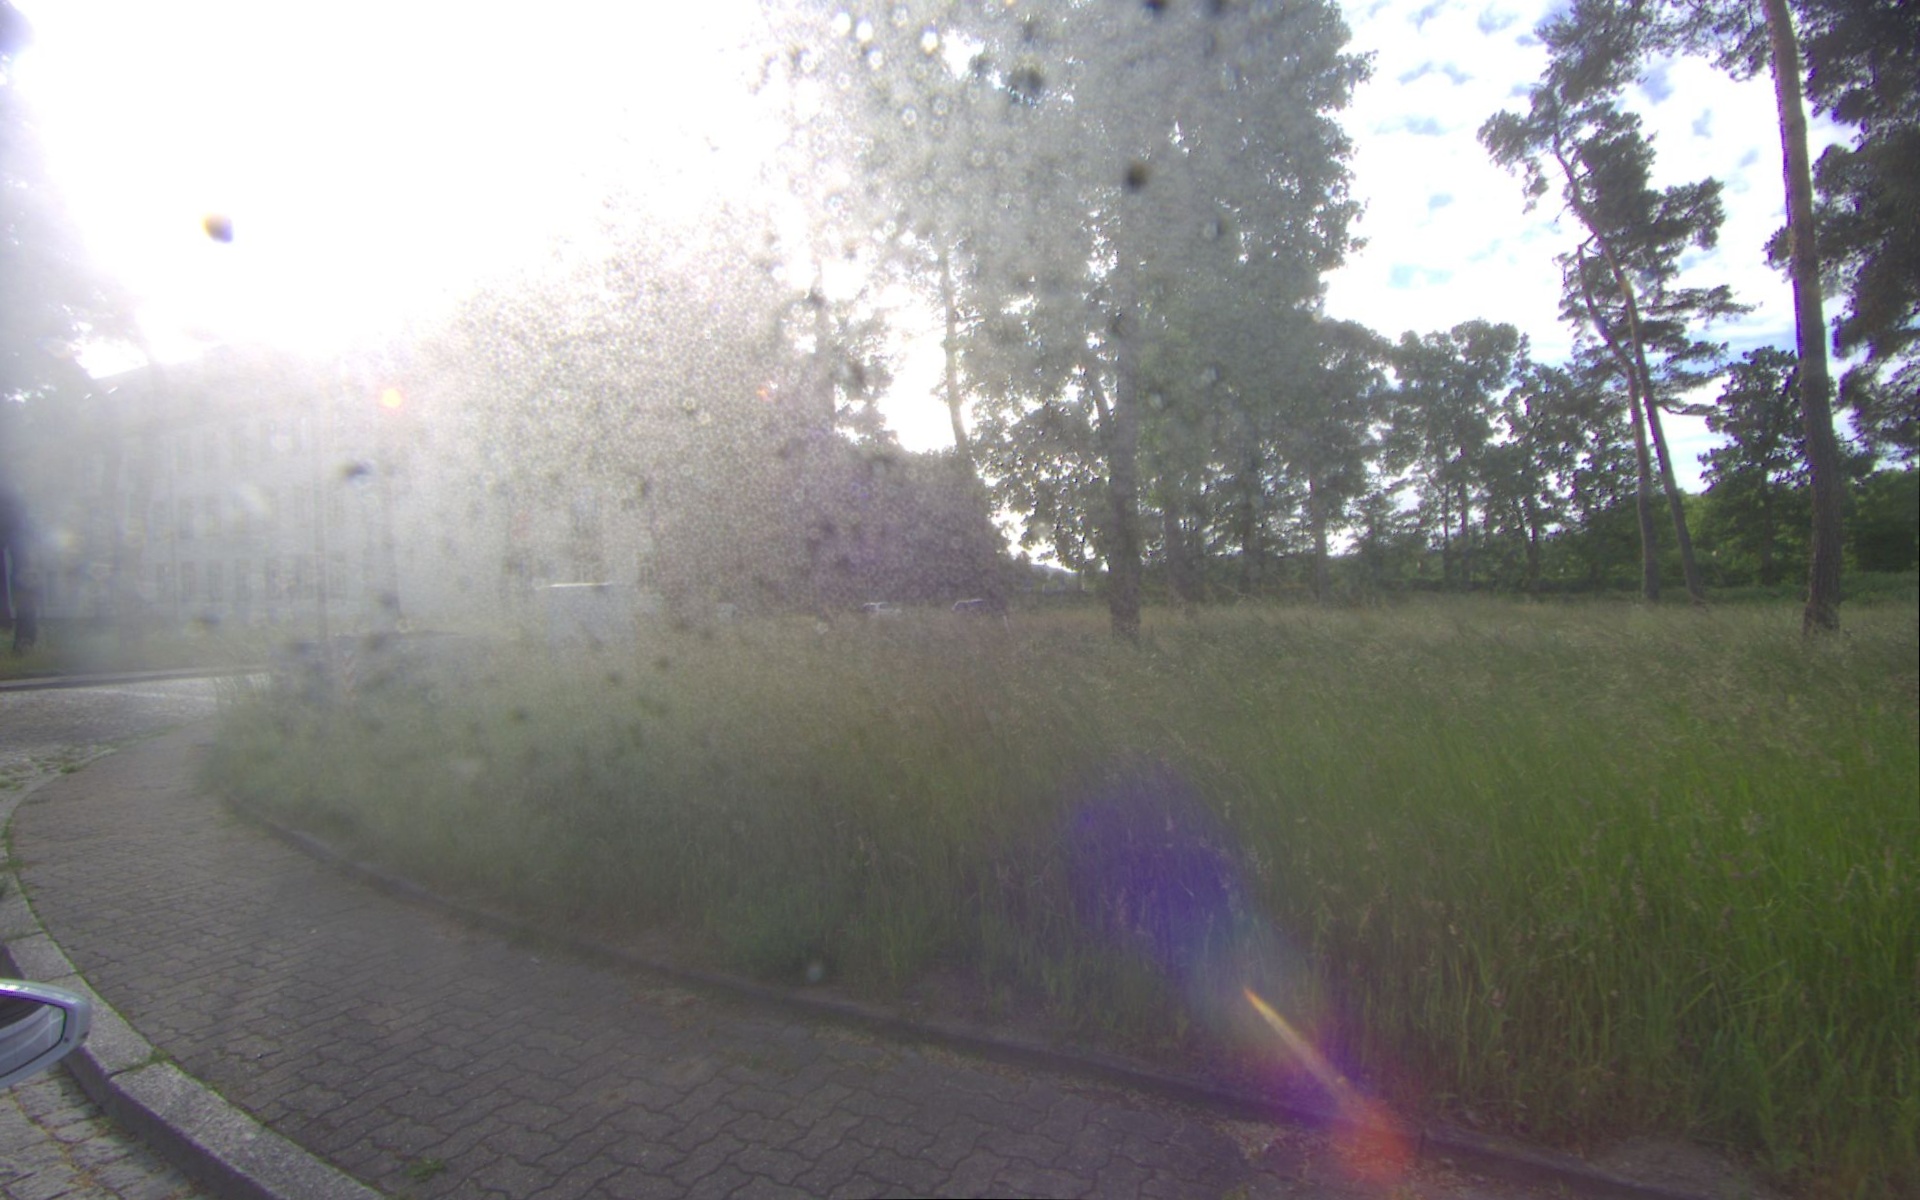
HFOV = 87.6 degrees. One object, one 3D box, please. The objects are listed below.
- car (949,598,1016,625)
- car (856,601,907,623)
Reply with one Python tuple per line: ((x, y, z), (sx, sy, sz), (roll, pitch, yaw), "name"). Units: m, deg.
((1.376, 0.693, 62.632), (3.924, 1.622, 1.999), (-1, 1, -8), "car")
((-5.270, 0.847, 67.649), (1.539, 1.416, 3.984), (-1, -2, 29), "car")
